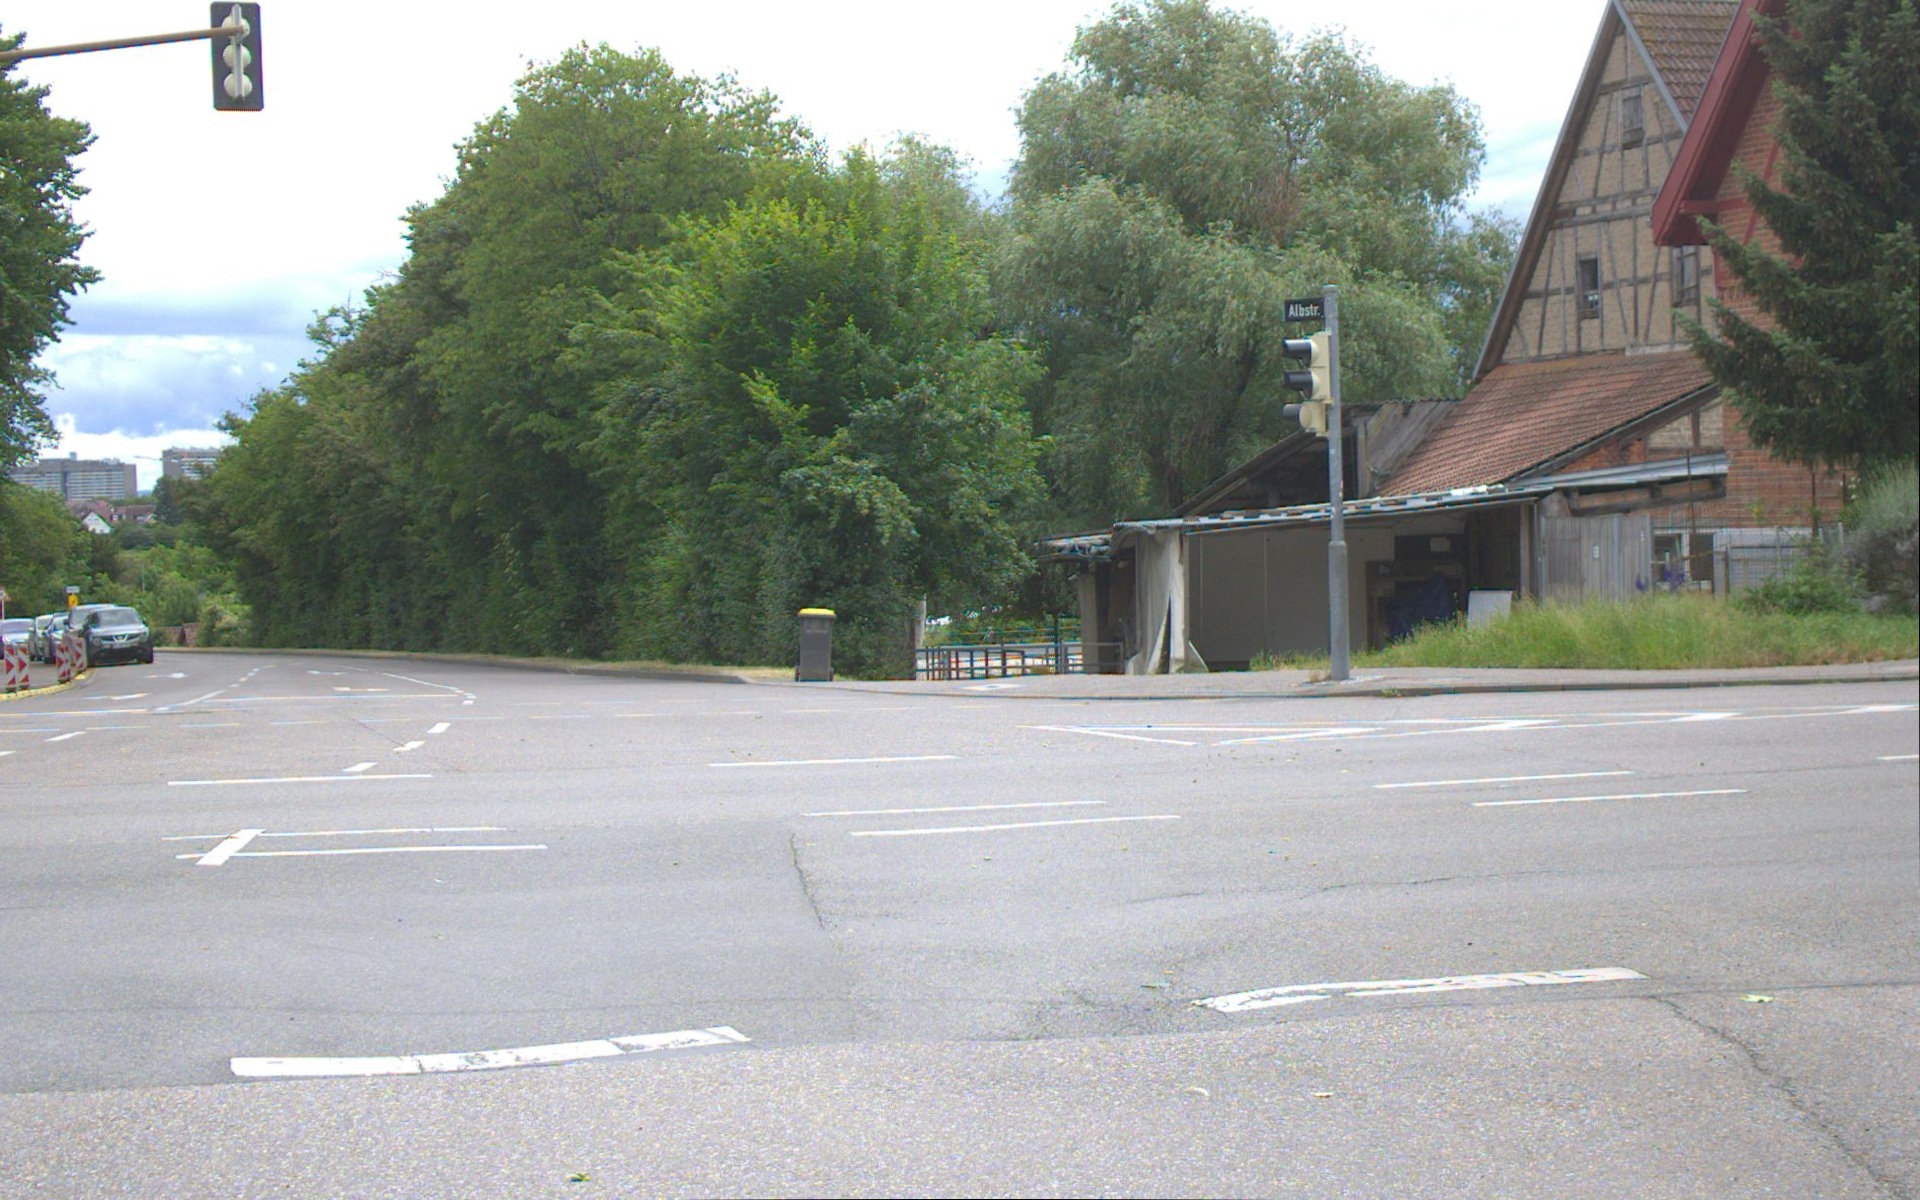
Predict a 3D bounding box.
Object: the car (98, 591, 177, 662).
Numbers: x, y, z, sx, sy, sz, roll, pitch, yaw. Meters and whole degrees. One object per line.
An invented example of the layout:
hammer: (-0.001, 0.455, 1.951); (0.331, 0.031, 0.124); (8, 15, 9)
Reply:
car: (-22.237, 0.693, 93.041); (1.993, 1.744, 4.001); (-2, 1, -13)

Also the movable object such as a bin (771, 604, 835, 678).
movable object such as a bin: (-1.978, 0.518, 43.397); (0.592, 0.903, 0.602); (-1, 1, 22)
